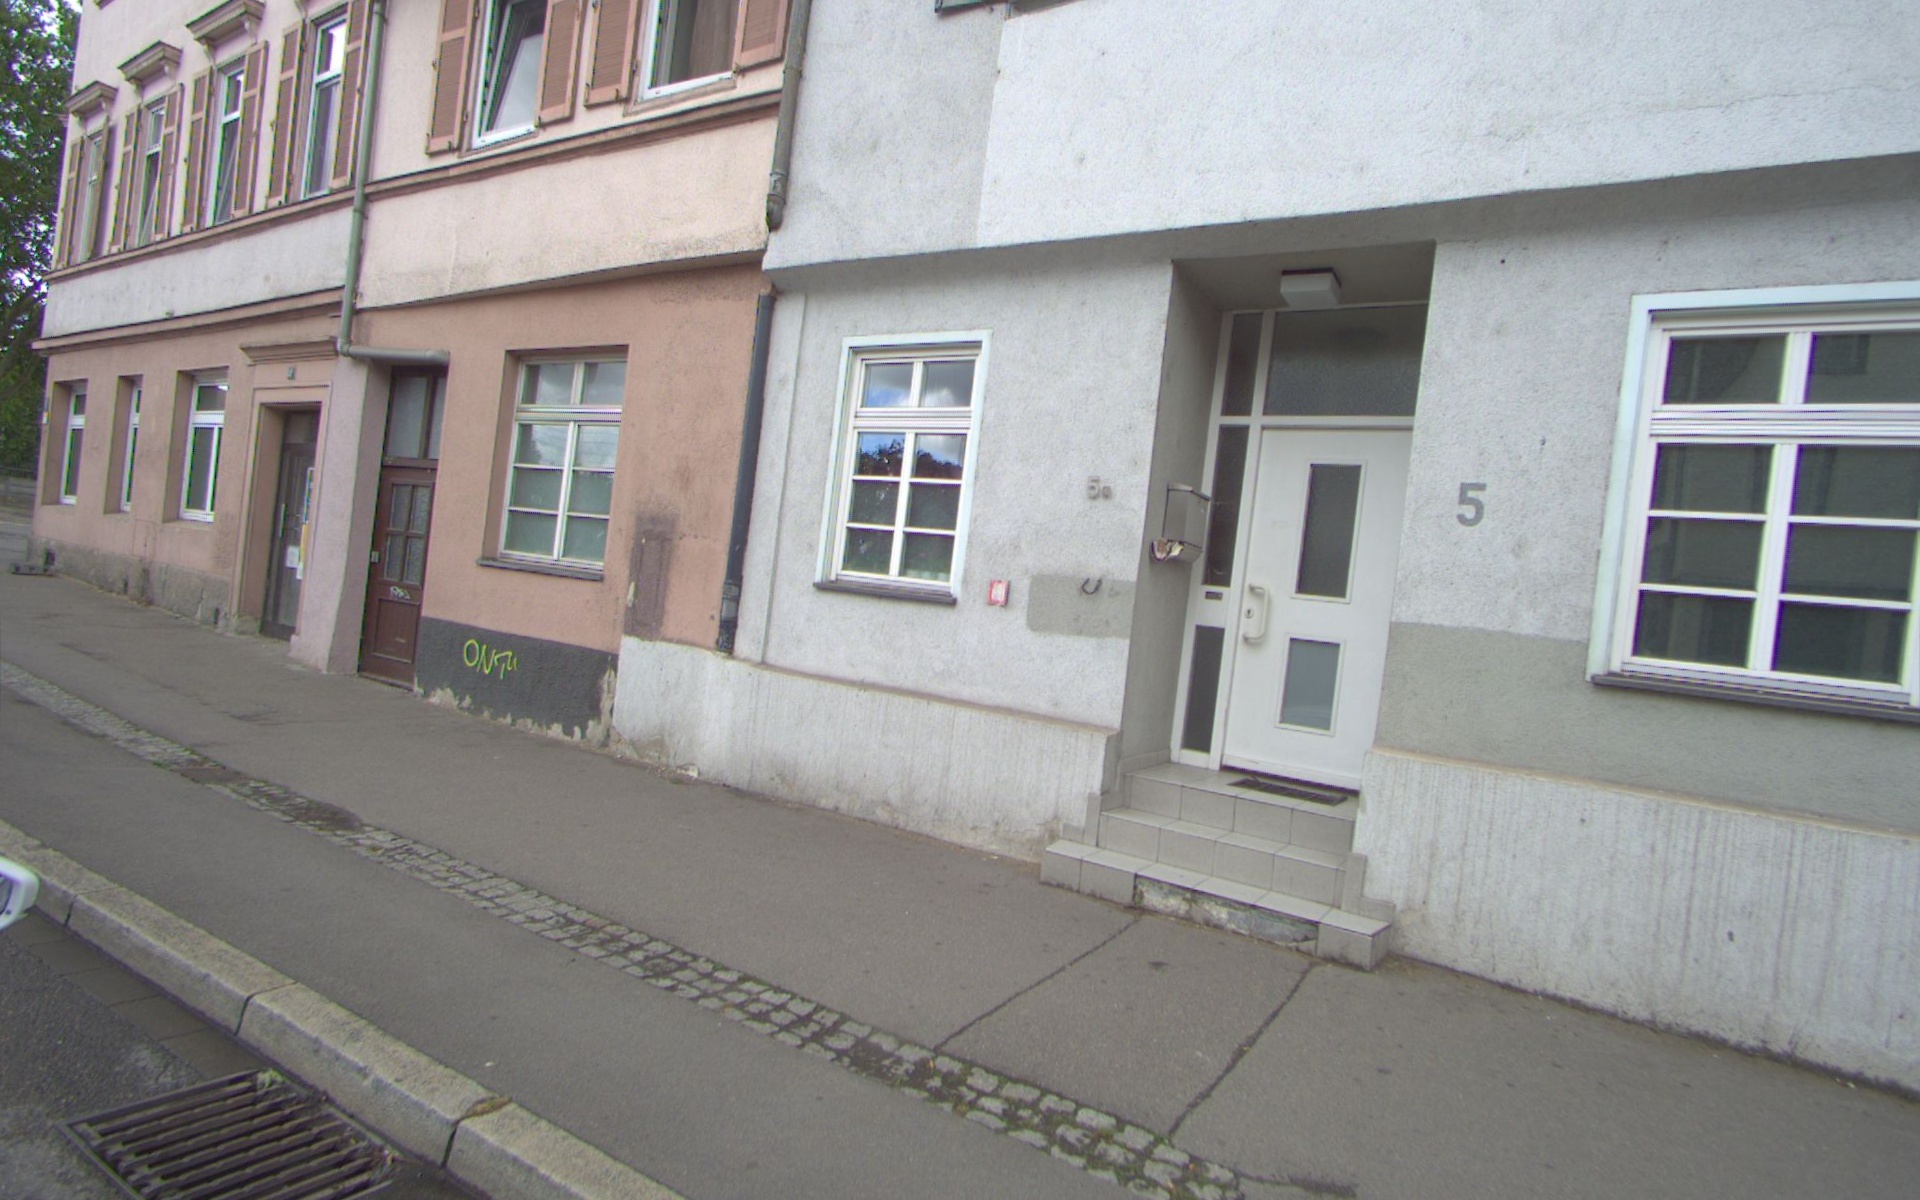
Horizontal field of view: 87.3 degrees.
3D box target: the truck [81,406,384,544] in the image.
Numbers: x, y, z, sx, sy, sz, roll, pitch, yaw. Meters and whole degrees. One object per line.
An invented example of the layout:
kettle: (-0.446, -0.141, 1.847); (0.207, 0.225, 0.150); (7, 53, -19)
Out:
truck: (-29.673, -4.931, 41.905); (2.230, 3.740, 10.216); (7, -1, 24)
